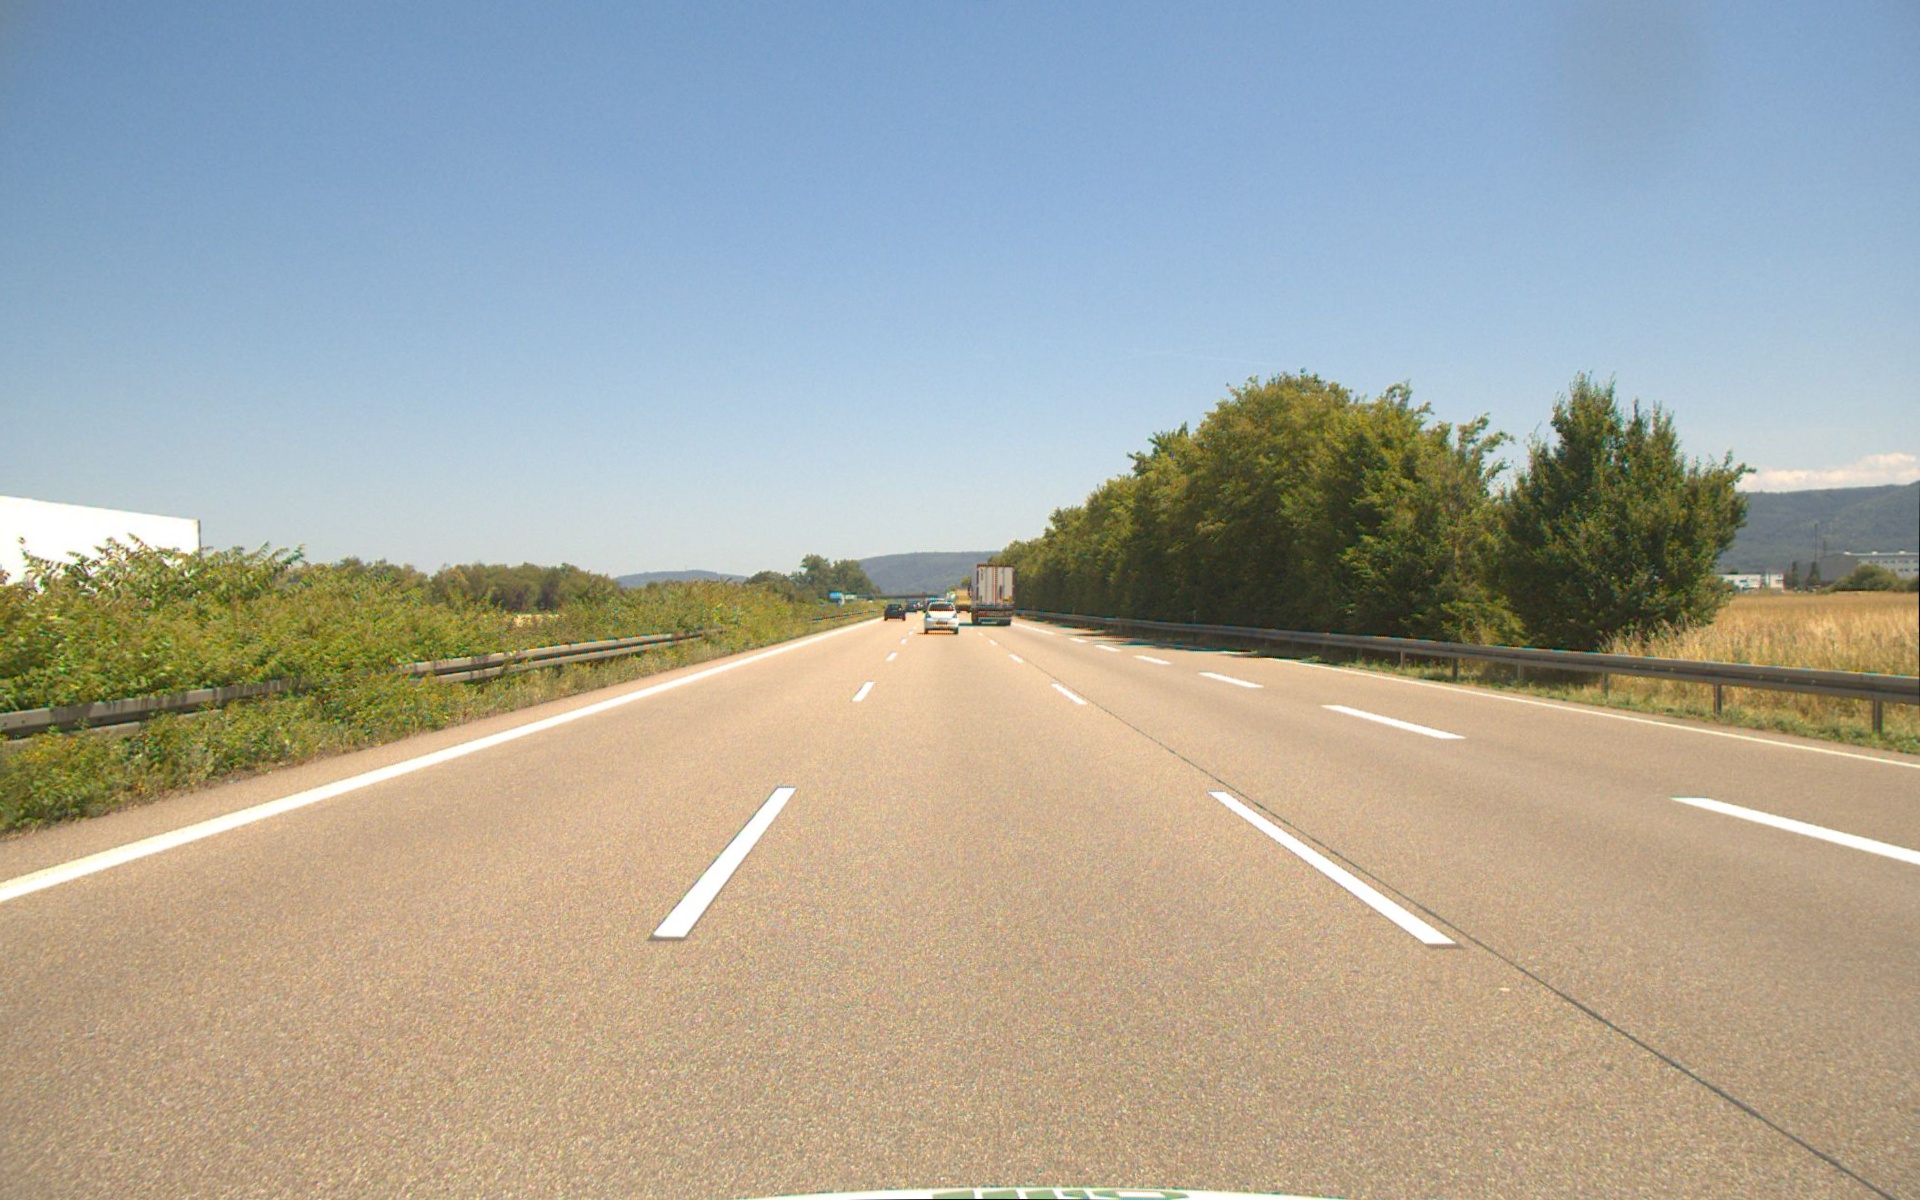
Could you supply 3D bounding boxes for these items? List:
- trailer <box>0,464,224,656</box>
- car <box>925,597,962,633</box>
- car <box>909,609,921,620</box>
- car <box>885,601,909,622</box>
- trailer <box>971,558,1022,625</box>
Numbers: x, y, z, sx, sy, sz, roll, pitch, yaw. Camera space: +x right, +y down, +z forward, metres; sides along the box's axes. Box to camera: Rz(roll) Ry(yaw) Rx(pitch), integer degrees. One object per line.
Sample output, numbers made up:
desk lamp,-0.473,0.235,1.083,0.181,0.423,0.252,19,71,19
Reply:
trailer,-20.408,-0.804,35.380,3.115,3.763,14.378,1,0,-1
car,-0.840,0.707,80.393,1.697,1.713,3.998,-1,0,-2
car,-6.465,2.139,238.264,1.759,1.578,3.999,0,-1,-1
car,-5.203,0.944,136.854,1.953,1.742,3.998,1,0,-2
trailer,2.470,-0.565,117.579,3.152,4.421,13.627,1,0,0
